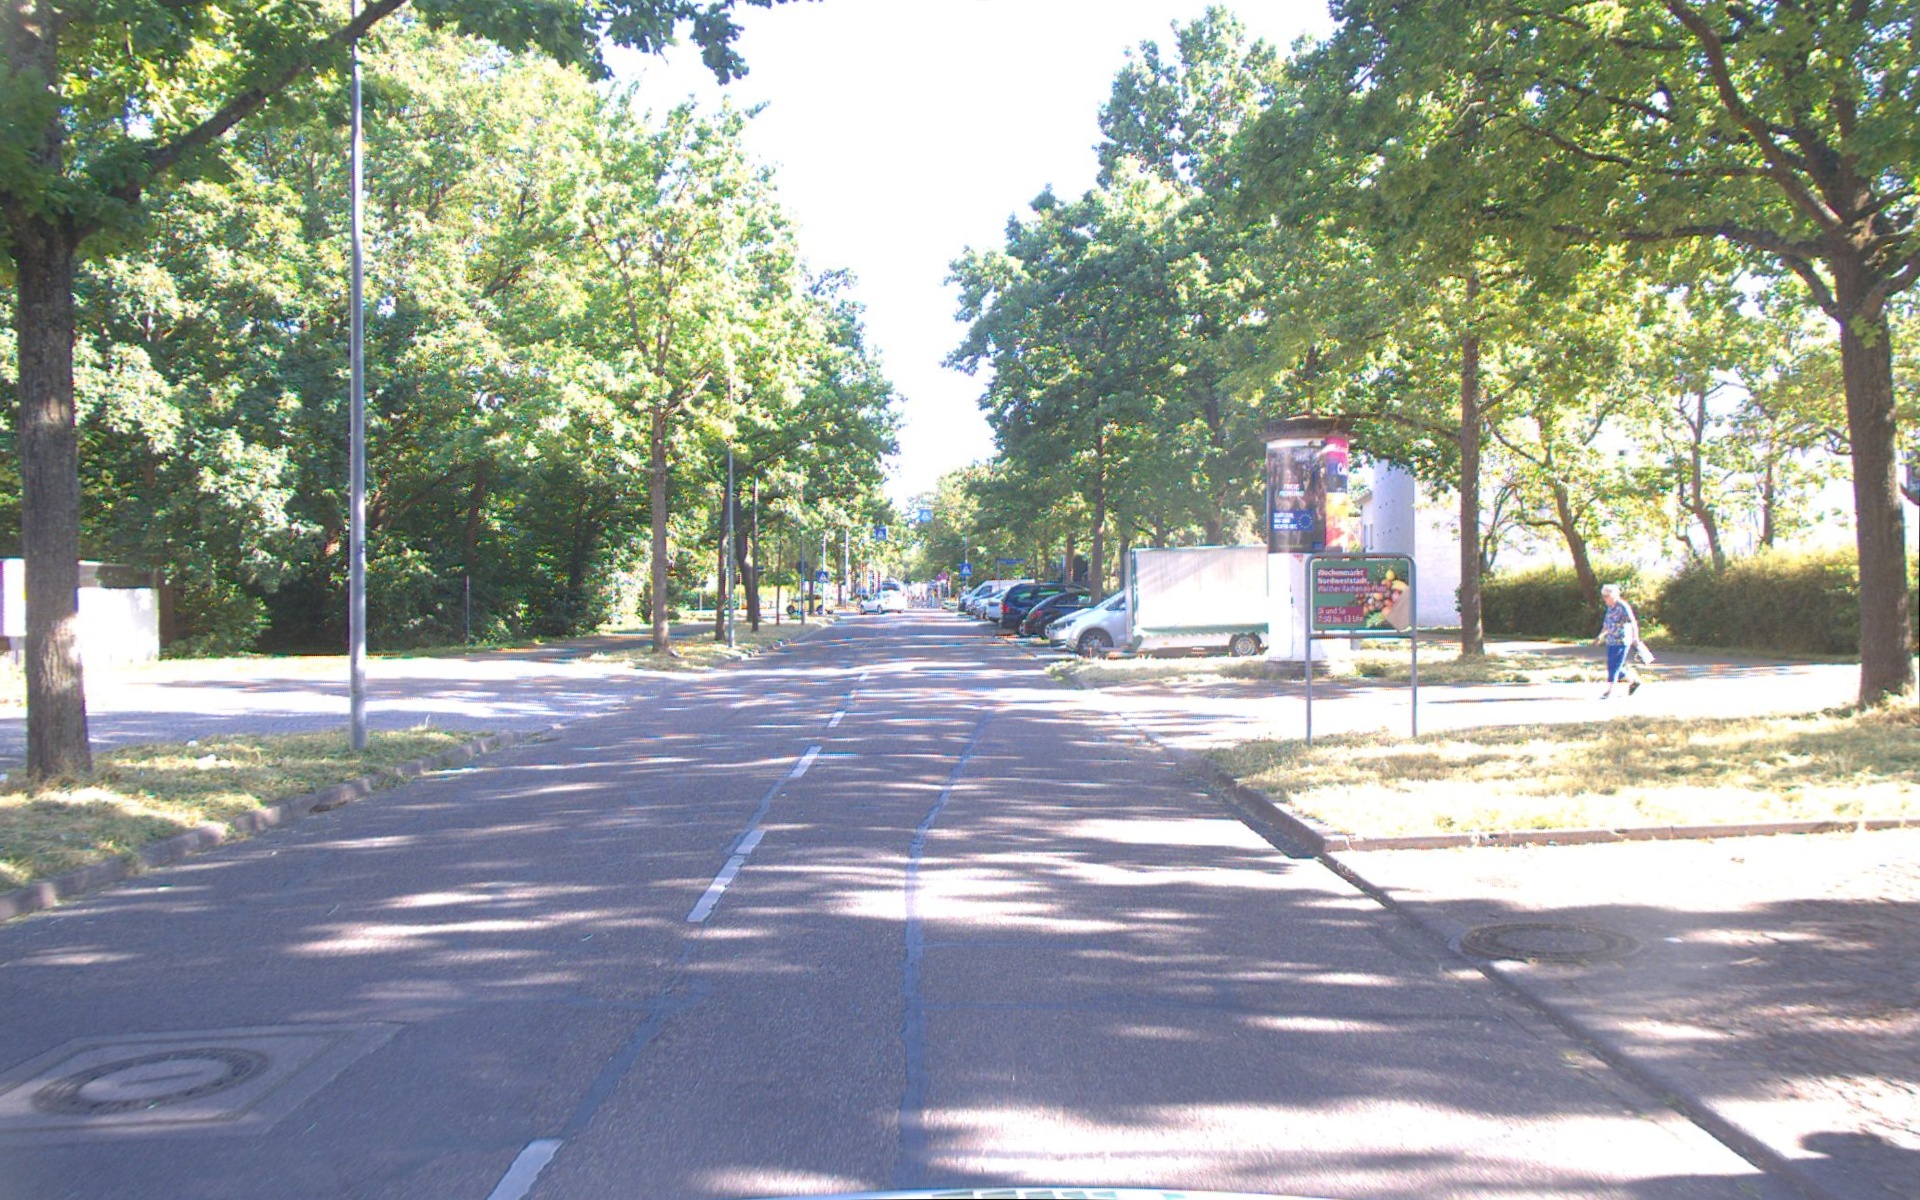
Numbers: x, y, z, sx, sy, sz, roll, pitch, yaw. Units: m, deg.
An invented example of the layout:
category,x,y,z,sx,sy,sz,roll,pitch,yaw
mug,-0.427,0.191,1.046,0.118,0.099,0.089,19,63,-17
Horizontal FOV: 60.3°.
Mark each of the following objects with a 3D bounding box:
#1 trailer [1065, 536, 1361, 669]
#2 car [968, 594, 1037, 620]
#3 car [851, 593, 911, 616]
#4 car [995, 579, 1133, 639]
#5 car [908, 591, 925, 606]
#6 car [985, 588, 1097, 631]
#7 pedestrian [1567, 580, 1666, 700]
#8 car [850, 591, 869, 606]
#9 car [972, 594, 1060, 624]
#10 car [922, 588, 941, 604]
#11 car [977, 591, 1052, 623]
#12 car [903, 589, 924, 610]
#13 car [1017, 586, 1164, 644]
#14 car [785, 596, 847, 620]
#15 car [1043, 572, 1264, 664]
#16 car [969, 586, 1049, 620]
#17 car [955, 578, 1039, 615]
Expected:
category,x,y,z,sx,sy,sz,roll,pitch,yaw
trailer,5.043,0.044,33.429,5.656,2.358,1.686,-3,0,0
car,2.451,0.406,95.340,3.905,1.458,1.901,-1,0,0
car,-5.330,0.321,111.067,1.983,1.510,3.938,0,0,-42
car,3.457,0.291,55.738,4.438,1.832,1.936,-2,0,-2
car,-5.179,-0.137,195.411,1.953,1.746,3.998,0,0,-2
car,3.408,0.407,69.927,4.576,1.608,1.916,-2,0,-1
pedestrian,8.777,0.521,22.106,0.935,1.526,0.872,-2,0,-41
car,-11.262,-0.165,185.572,1.953,1.746,3.998,0,0,-2
car,2.860,0.431,85.210,4.355,1.414,1.910,-1,0,-2
car,-3.071,-0.402,179.724,1.953,1.746,3.998,0,0,-2
car,2.883,0.351,88.132,3.807,1.523,1.776,-2,0,-3
car,-4.451,-0.075,159.002,1.953,1.967,3.998,0,0,-2
car,3.821,0.418,49.079,4.159,1.545,2.078,-2,0,-1
car,-10.214,0.560,117.114,3.906,1.684,2.000,-1,0,23
car,4.170,0.379,36.226,4.548,1.752,1.987,-2,0,-1
car,2.716,0.159,92.813,4.297,1.680,1.850,-2,0,-4
car,2.262,-0.211,103.112,5.084,2.142,2.081,-1,0,-3
